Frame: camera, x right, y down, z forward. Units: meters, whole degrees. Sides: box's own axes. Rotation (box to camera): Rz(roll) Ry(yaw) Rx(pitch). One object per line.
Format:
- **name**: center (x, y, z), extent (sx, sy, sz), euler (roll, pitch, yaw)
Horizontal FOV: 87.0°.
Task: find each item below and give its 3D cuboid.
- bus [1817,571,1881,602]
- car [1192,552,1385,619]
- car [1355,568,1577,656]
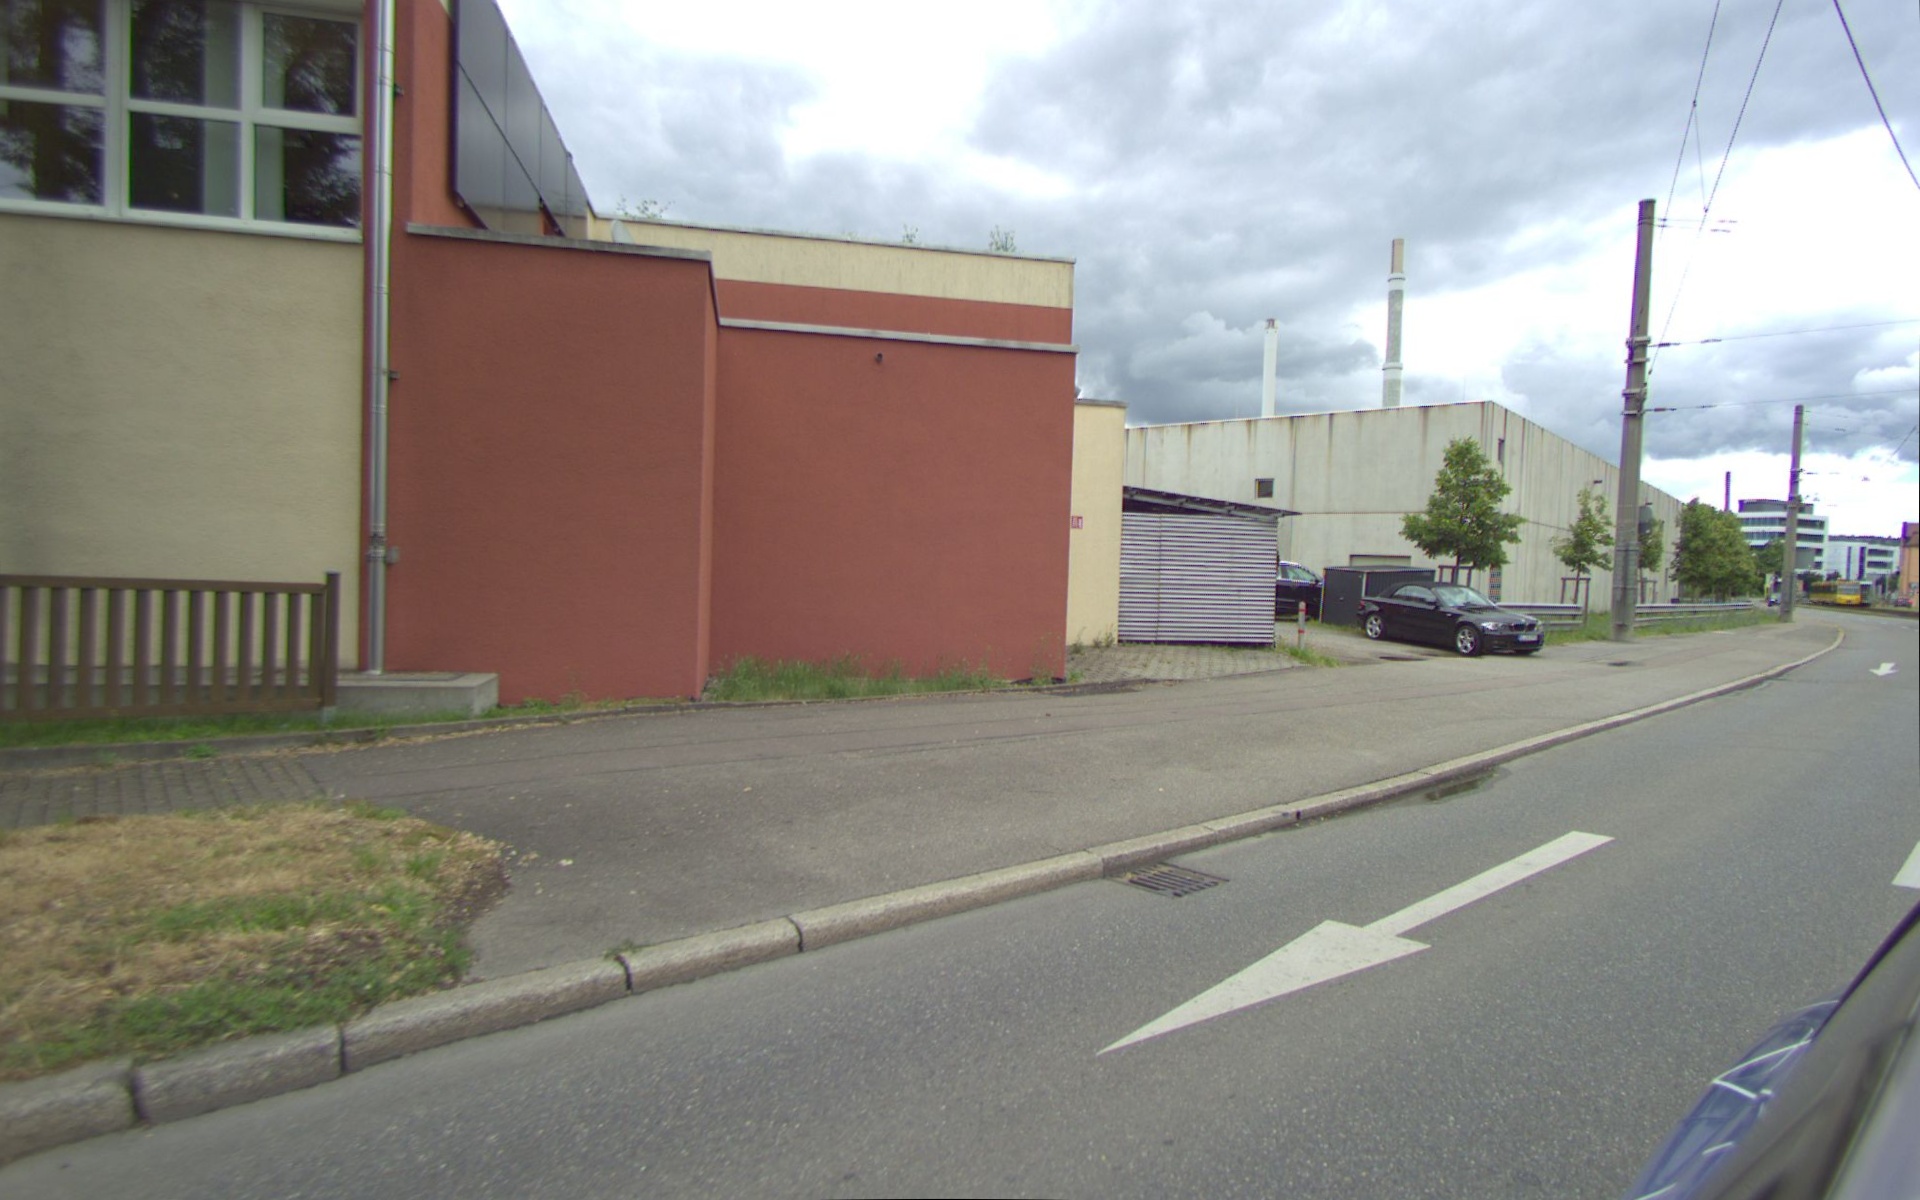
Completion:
- **bus**: center (124.511, -1.947, 141.912), extent (3.521, 4.001, 10.415), euler (1, 2, 23)
- **car**: center (8.820, -0.430, 27.472), extent (4.432, 1.566, 2.164), euler (2, 4, -3)
- **car**: center (10.700, 0.181, 21.810), extent (1.726, 1.460, 4.247), euler (1, 4, -18)
